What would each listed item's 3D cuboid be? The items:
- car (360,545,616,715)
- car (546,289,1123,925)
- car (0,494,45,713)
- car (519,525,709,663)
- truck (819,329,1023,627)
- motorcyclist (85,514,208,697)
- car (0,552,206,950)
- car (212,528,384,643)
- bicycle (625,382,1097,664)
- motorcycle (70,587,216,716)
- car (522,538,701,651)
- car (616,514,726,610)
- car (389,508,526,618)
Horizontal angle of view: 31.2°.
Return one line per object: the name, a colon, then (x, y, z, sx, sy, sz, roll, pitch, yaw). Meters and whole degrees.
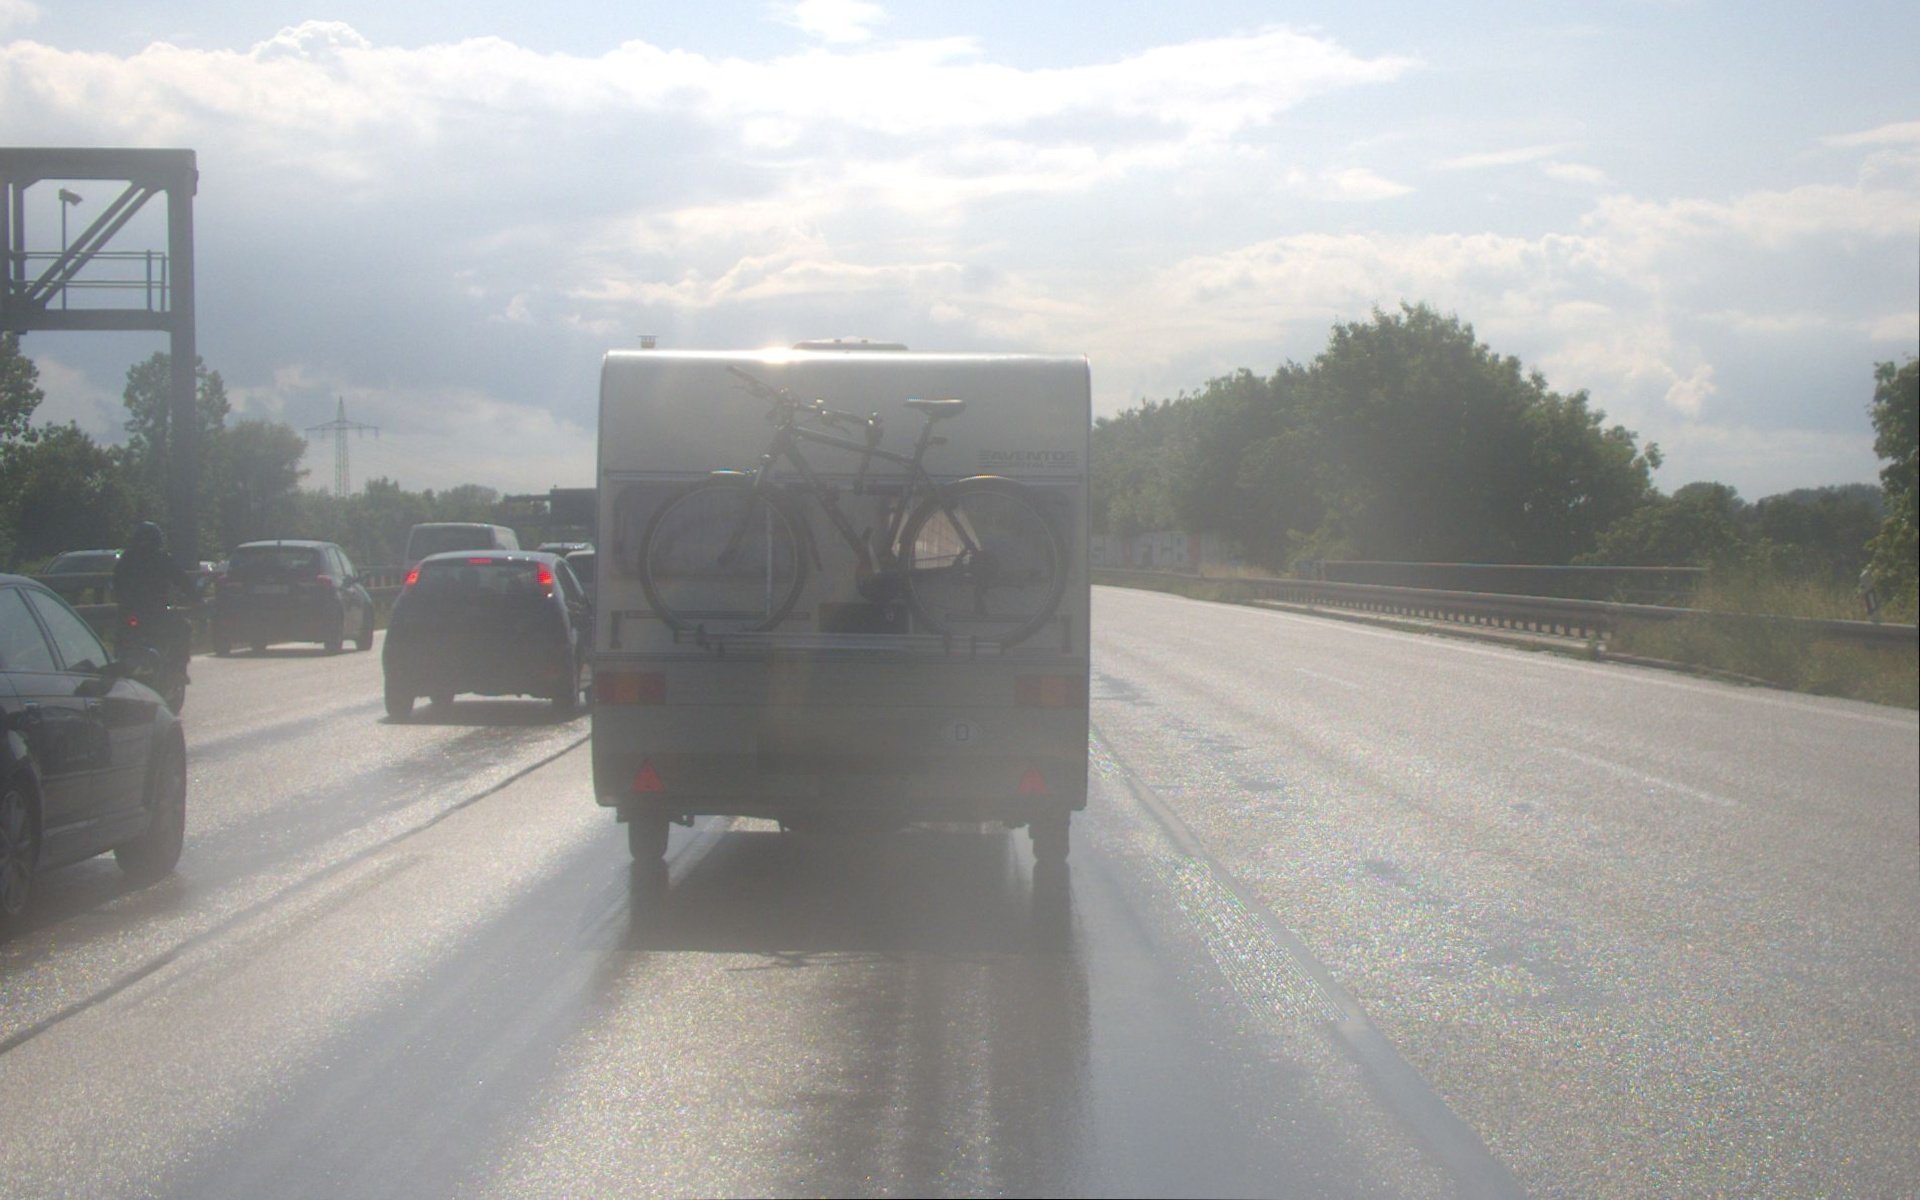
car: (-4.265, 0.226, 31.612, 1.758, 1.438, 4.000, 0, 1, 1)
car: (-0.512, 0.006, 16.539, 2.410, 2.665, 4.000, 1, 1, 1)
car: (-8.958, 0.051, 27.456, 1.806, 1.838, 5.418, 0, 1, 1)
car: (-3.944, -0.098, 39.743, 1.863, 1.503, 4.000, 0, 1, -1)
truck: (-0.712, -1.972, 58.676, 3.146, 4.610, 10.736, 0, 1, -1)
motorcyclist: (-6.942, 0.037, 29.368, 0.796, 1.532, 1.093, 0, 1, 0)
car: (-4.377, 0.526, 14.014, 1.750, 1.428, 4.054, 0, 1, -1)
car: (-9.390, -0.235, 49.004, 1.783, 1.573, 3.916, 0, 1, -1)
bicycle: (-0.404, -0.321, 14.333, 1.934, 1.137, 0.384, 1, 0, 2)
motorcycle: (-6.946, 0.418, 29.339, 0.690, 1.024, 2.388, 0, 1, 0)
car: (-4.663, -0.107, 46.516, 1.987, 1.453, 3.826, 0, 1, 1)
car: (-5.150, -0.686, 61.535, 1.689, 1.656, 3.641, 0, 1, 0)
car: (-9.210, -0.704, 63.356, 1.848, 1.927, 5.016, 0, 1, -1)
